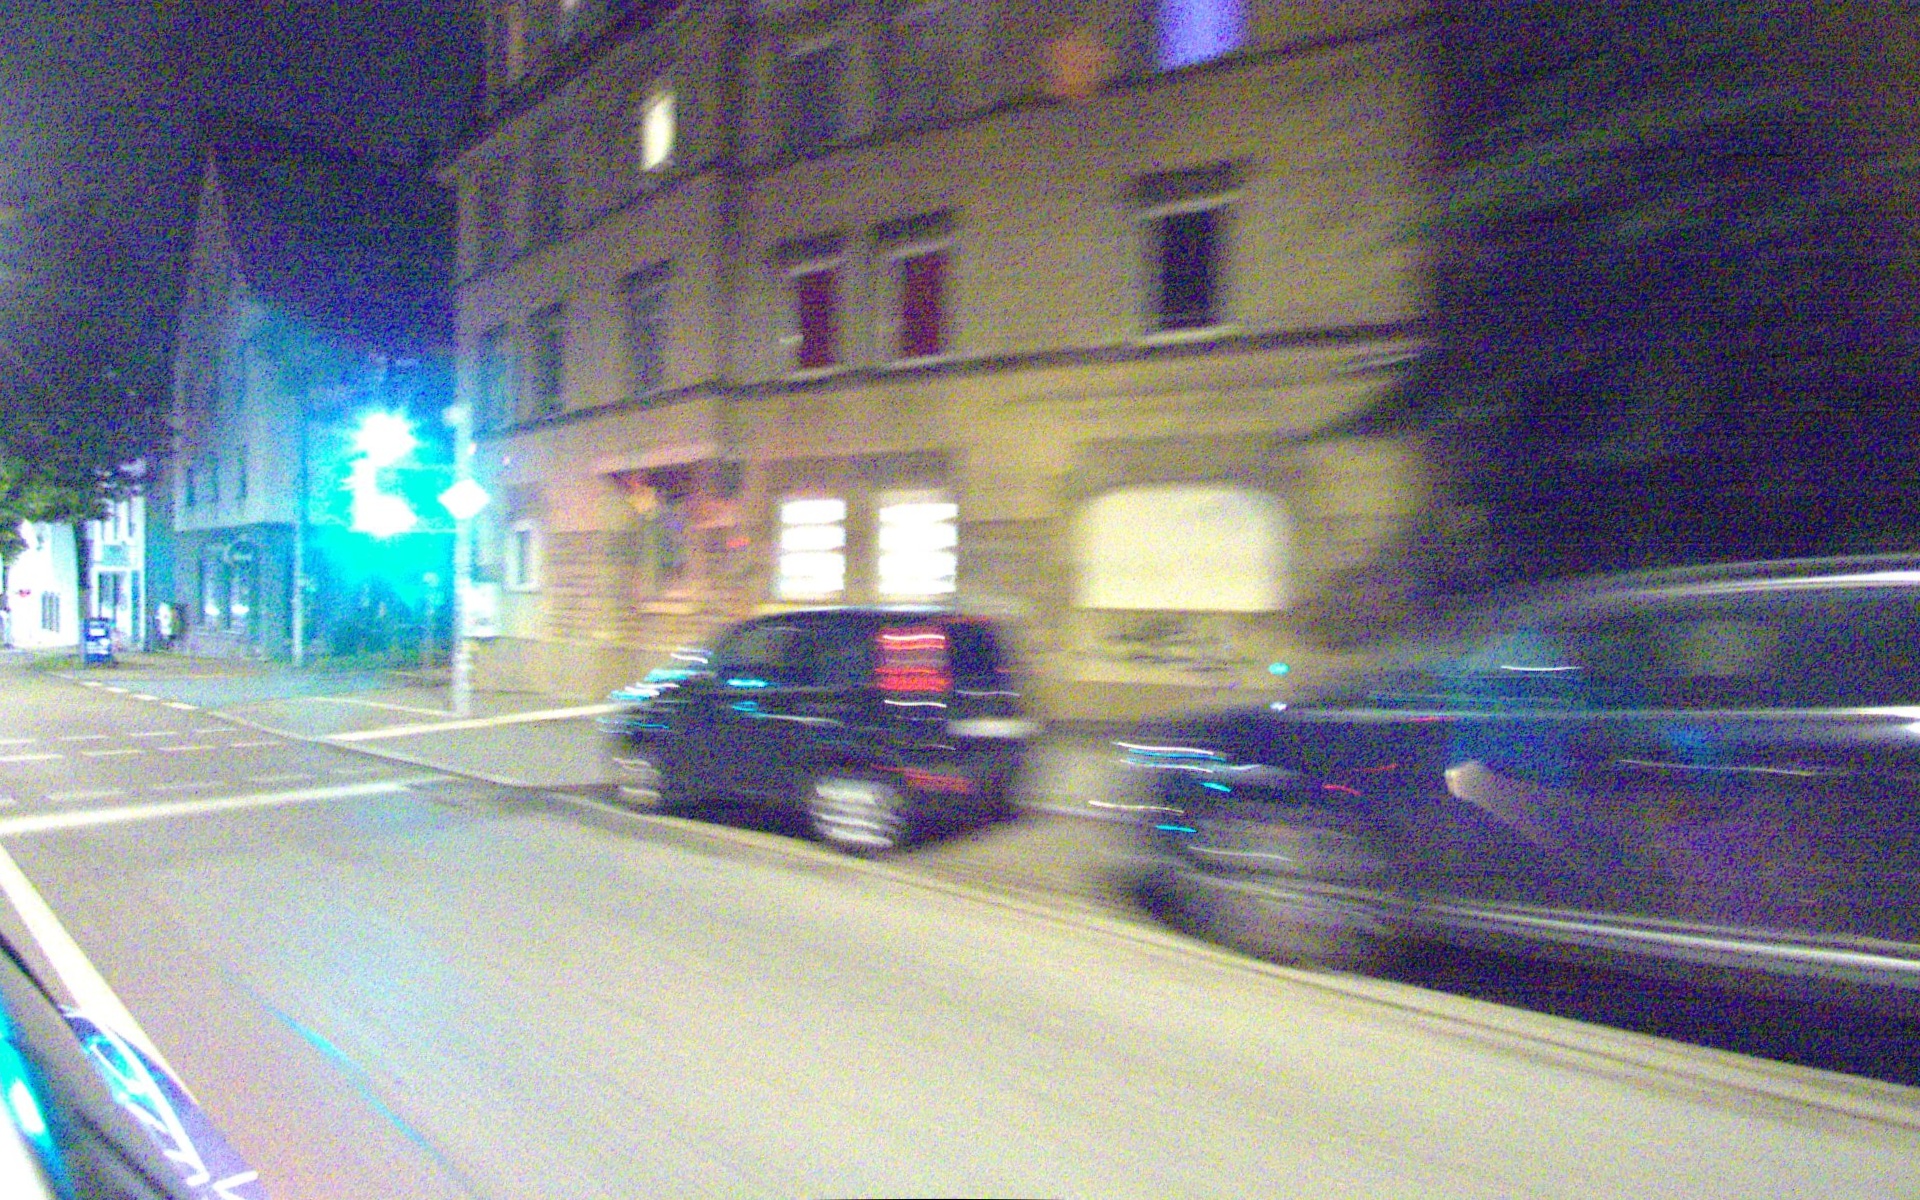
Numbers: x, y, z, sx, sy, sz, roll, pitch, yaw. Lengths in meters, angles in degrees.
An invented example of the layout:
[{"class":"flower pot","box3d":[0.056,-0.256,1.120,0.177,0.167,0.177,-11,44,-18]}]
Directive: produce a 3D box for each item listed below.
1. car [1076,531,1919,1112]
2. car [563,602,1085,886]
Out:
[{"class":"car","box3d":[2.941,0.632,3.899,4.665,1.663,1.831,-2,0,38]},{"class":"car","box3d":[-1.113,0.816,7.347,3.697,1.526,1.632,-1,0,38]}]
